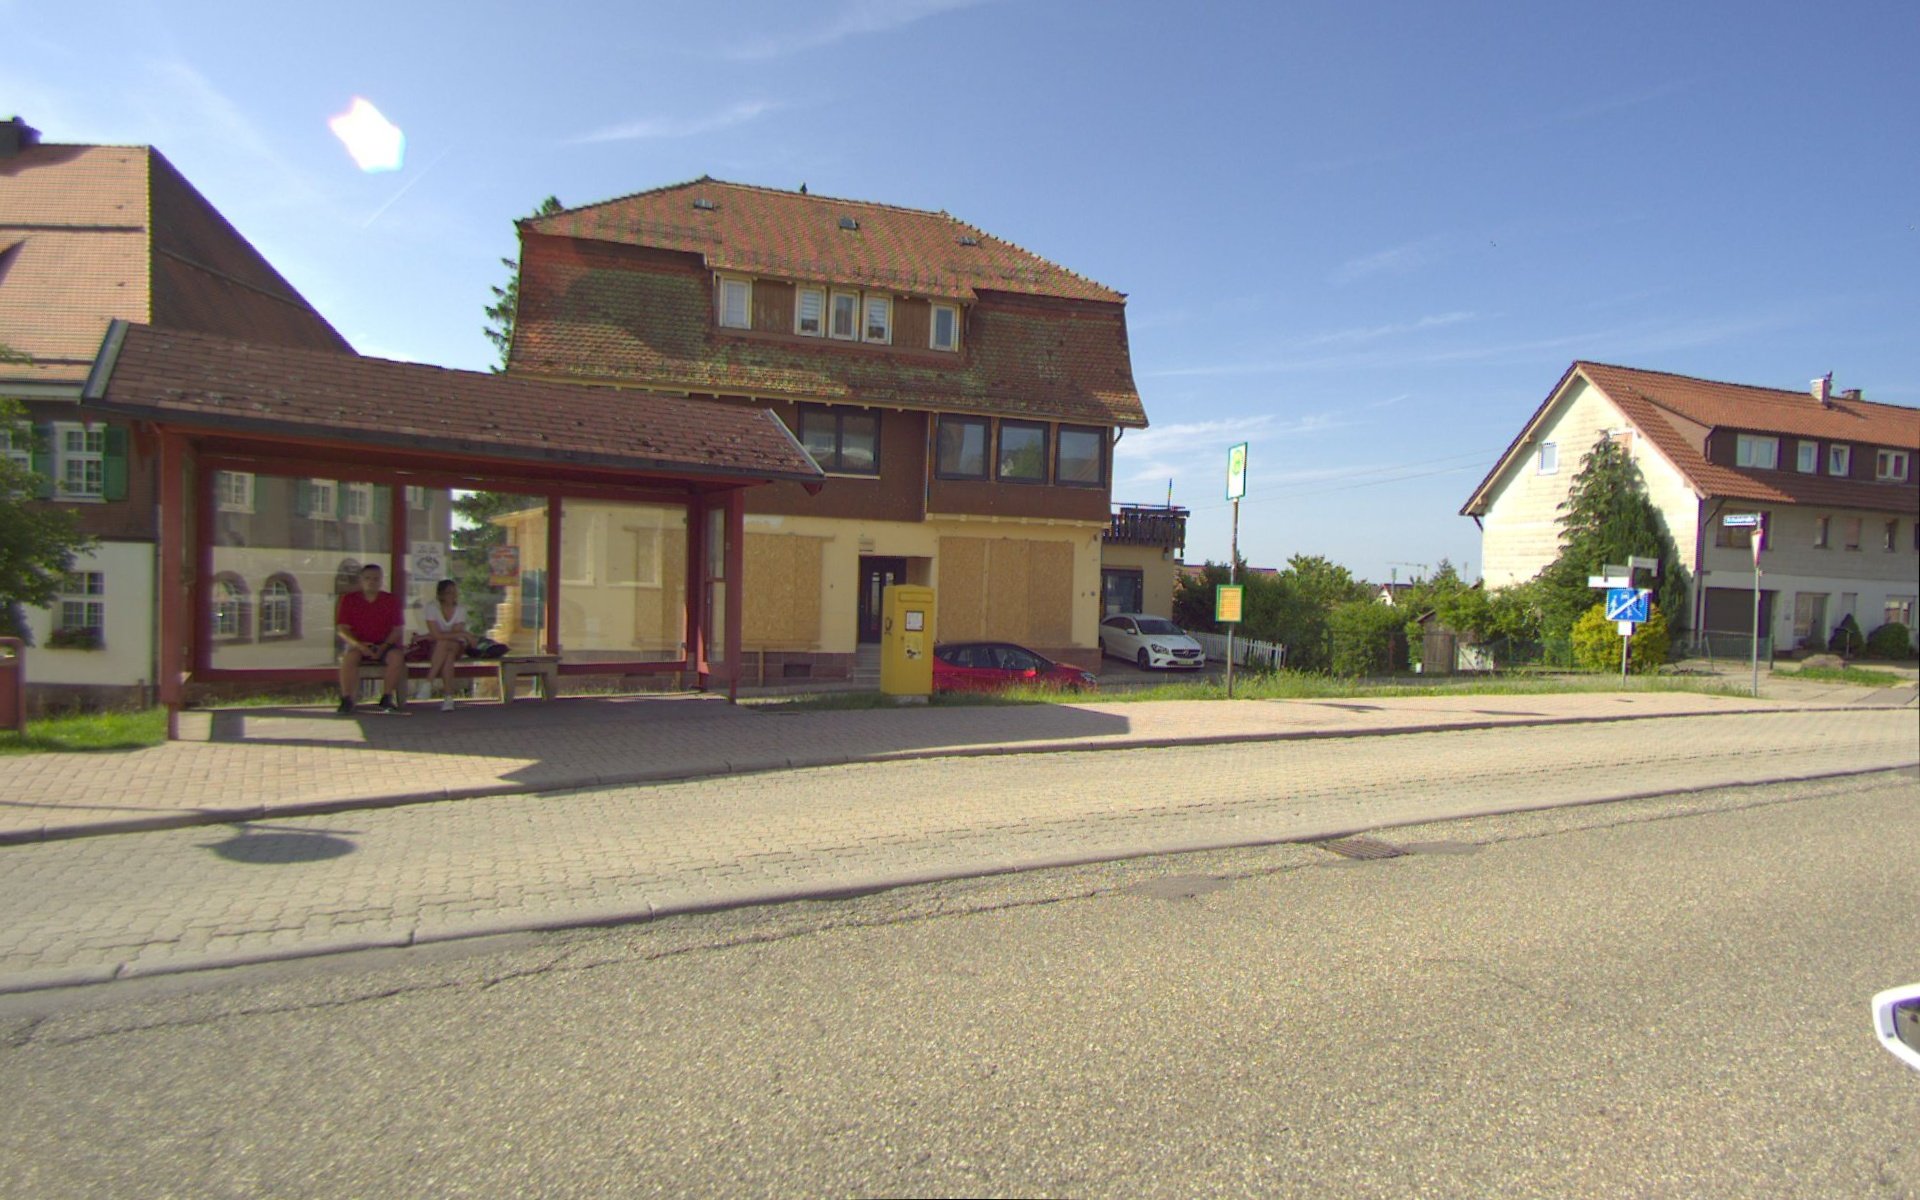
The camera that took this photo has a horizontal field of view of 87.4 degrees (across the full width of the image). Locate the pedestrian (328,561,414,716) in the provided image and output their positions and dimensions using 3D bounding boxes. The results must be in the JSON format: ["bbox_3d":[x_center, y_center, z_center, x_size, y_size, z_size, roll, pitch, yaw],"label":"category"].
[{"bbox_3d":[-5.515,0.352,9.406,0.667,1.382,0.614,0,-1,-32],"label":"pedestrian"}]

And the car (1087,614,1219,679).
[{"bbox_3d":[5.547,1.299,29.438,1.773,1.531,4.295,3,1,-20],"label":"car"}]

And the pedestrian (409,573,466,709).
[{"bbox_3d":[-5.069,0.394,9.729,0.419,1.269,0.625,1,-2,-33],"label":"pedestrian"}]

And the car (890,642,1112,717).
[{"bbox_3d":[0.763,1.480,19.371,3.935,1.314,1.721,1,-1,-16],"label":"car"}]

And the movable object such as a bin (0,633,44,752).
[{"bbox_3d":[-7.009,0.665,7.278,0.480,0.848,0.303,1,-1,-33],"label":"movable object such as a bin"}]
